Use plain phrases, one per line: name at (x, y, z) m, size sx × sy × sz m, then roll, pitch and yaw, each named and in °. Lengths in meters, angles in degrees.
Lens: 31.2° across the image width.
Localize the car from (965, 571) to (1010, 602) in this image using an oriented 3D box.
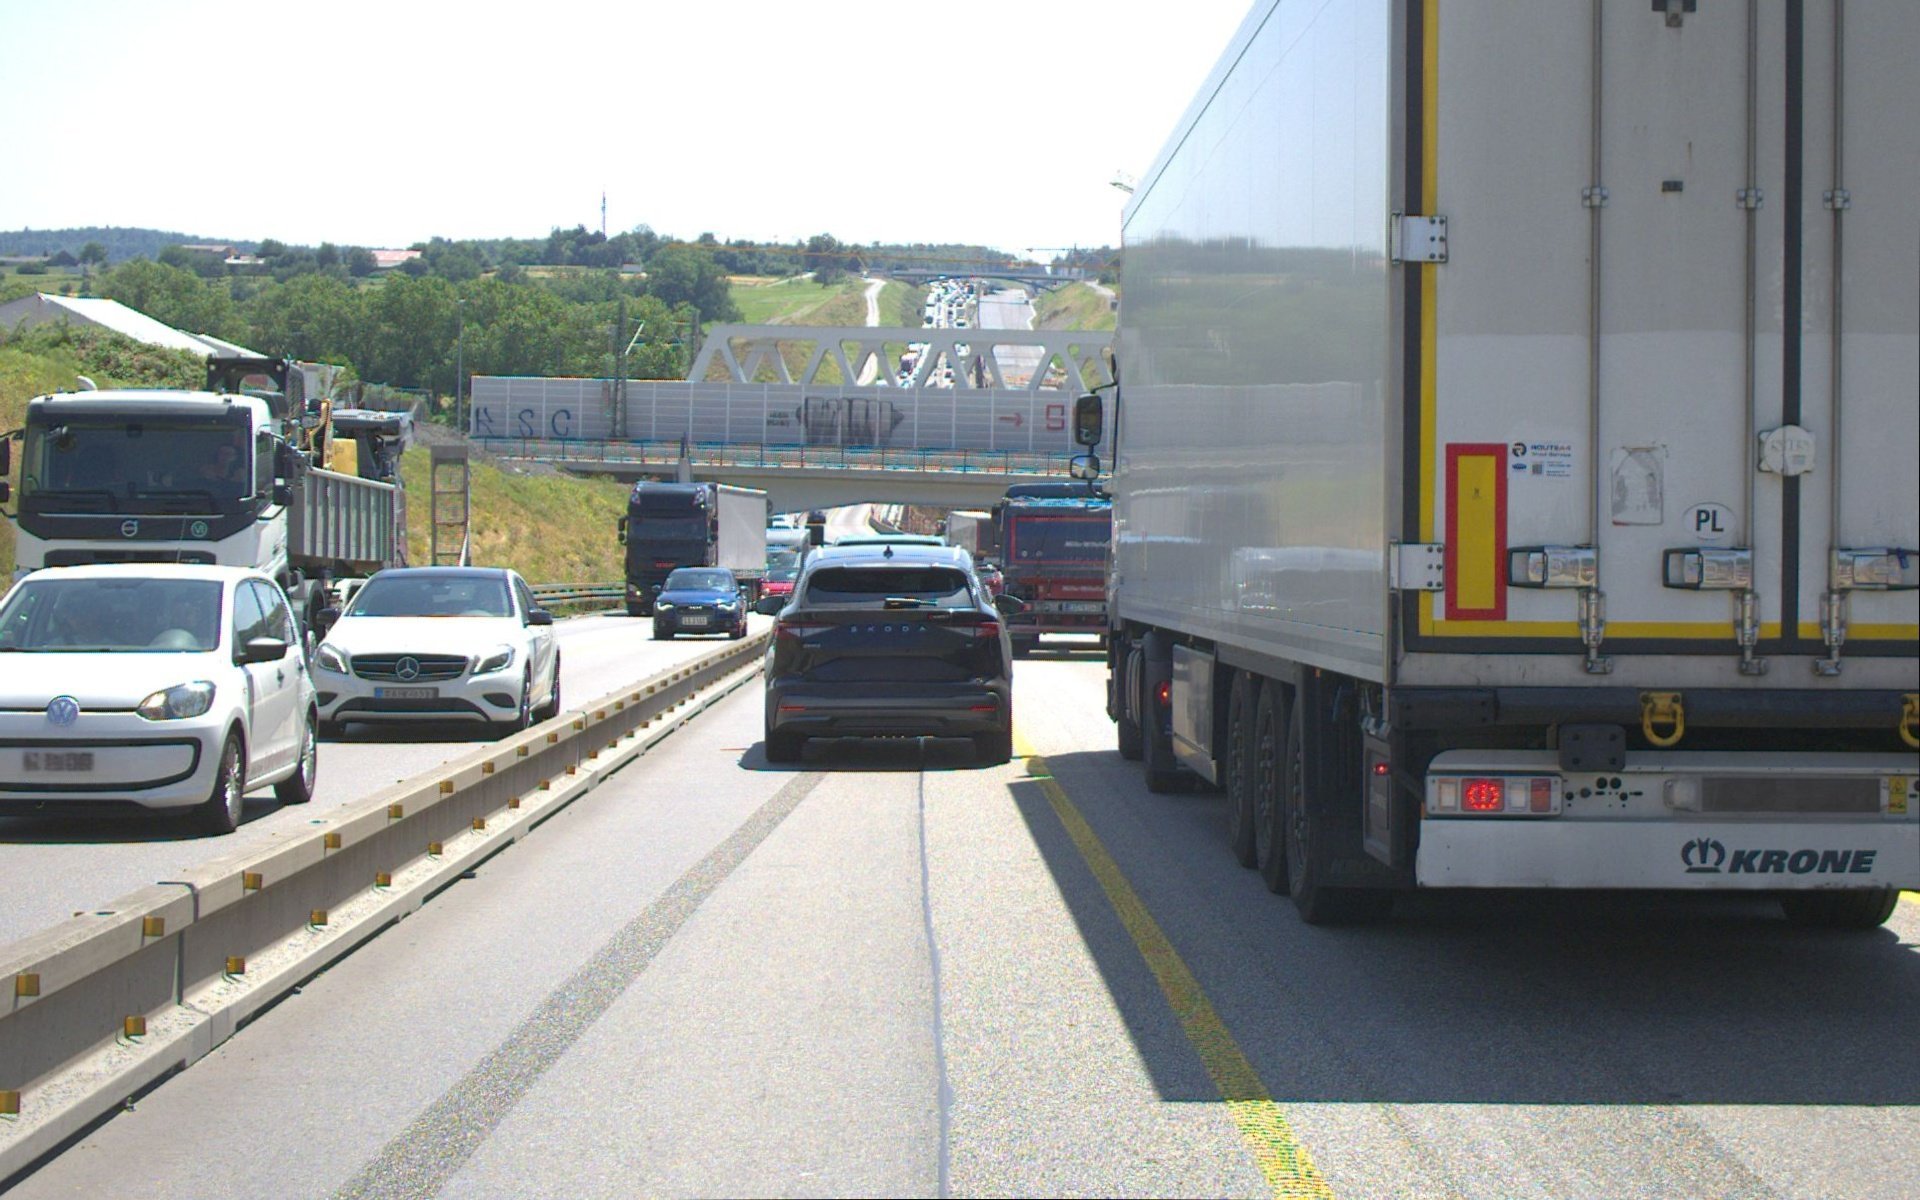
car at (1.065, -0.535, 134.304) m, size 1.538 × 1.202 × 3.311 m, roll 0°, pitch 1°, yaw -3°

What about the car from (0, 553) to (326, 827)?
car at (-4.718, 0.447, 19.606) m, size 1.684 × 1.425 × 3.293 m, roll 0°, pitch 1°, yaw -2°

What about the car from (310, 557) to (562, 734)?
car at (-4.490, 0.341, 29.957) m, size 1.684 × 1.425 × 4.123 m, roll 0°, pitch 1°, yaw -2°

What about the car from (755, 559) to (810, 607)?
car at (-5.561, -0.537, 108.204) m, size 1.590 × 1.481 × 3.295 m, roll 0°, pitch 1°, yaw -1°

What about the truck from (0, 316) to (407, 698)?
truck at (-8.135, -0.973, 38.218) m, size 2.587 × 3.710 × 9.333 m, roll 0°, pitch 1°, yaw -1°

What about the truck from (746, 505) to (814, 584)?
truck at (-6.727, -2.077, 129.256) m, size 2.268 × 2.872 × 5.851 m, roll 1°, pitch 1°, yaw 0°

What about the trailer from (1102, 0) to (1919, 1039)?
trailer at (2.543, -0.719, 17.838) m, size 2.801 × 4.044 × 14.117 m, roll 0°, pitch 1°, yaw -1°

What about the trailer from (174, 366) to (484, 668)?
trailer at (-8.239, -1.066, 46.018) m, size 2.587 × 3.624 × 9.079 m, roll 0°, pitch 1°, yaw -1°

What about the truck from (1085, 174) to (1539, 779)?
truck at (2.460, -0.855, 25.597) m, size 2.776 × 4.044 × 4.905 m, roll 0°, pitch 1°, yaw -1°

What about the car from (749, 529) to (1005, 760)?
car at (-0.605, 0.279, 25.932) m, size 1.800 × 1.615 × 3.298 m, roll 0°, pitch 1°, yaw -1°

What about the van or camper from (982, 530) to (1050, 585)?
van or camper at (3.613, -2.748, 220.195) m, size 3.943 × 3.408 × 8.405 m, roll 1°, pitch 1°, yaw 3°

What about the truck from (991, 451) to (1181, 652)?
truck at (2.034, -0.844, 60.280) m, size 2.814 × 3.124 × 12.838 m, roll 1°, pitch 1°, yaw 0°

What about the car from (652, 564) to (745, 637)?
car at (-5.152, -0.014, 68.125) m, size 1.689 × 1.398 × 3.687 m, roll 0°, pitch 1°, yaw -2°

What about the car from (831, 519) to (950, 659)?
car at (-0.909, -0.167, 46.375) m, size 1.475 × 1.789 × 3.297 m, roll -1°, pitch 1°, yaw 1°

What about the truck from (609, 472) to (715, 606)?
truck at (-8.920, -1.821, 103.471) m, size 2.767 × 3.871 × 4.964 m, roll 1°, pitch 1°, yaw -1°

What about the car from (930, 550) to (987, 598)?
car at (-0.045, -0.751, 99.143) m, size 1.491 × 1.326 × 3.244 m, roll 2°, pitch 1°, yaw -2°

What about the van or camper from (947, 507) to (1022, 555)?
van or camper at (1.773, -5.134, 255.148) m, size 3.942 × 3.408 × 8.409 m, roll 1°, pitch 1°, yaw -11°

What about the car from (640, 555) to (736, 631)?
car at (-5.309, -0.154, 67.357) m, size 1.684 × 1.425 × 3.850 m, roll 0°, pitch 1°, yaw -2°
